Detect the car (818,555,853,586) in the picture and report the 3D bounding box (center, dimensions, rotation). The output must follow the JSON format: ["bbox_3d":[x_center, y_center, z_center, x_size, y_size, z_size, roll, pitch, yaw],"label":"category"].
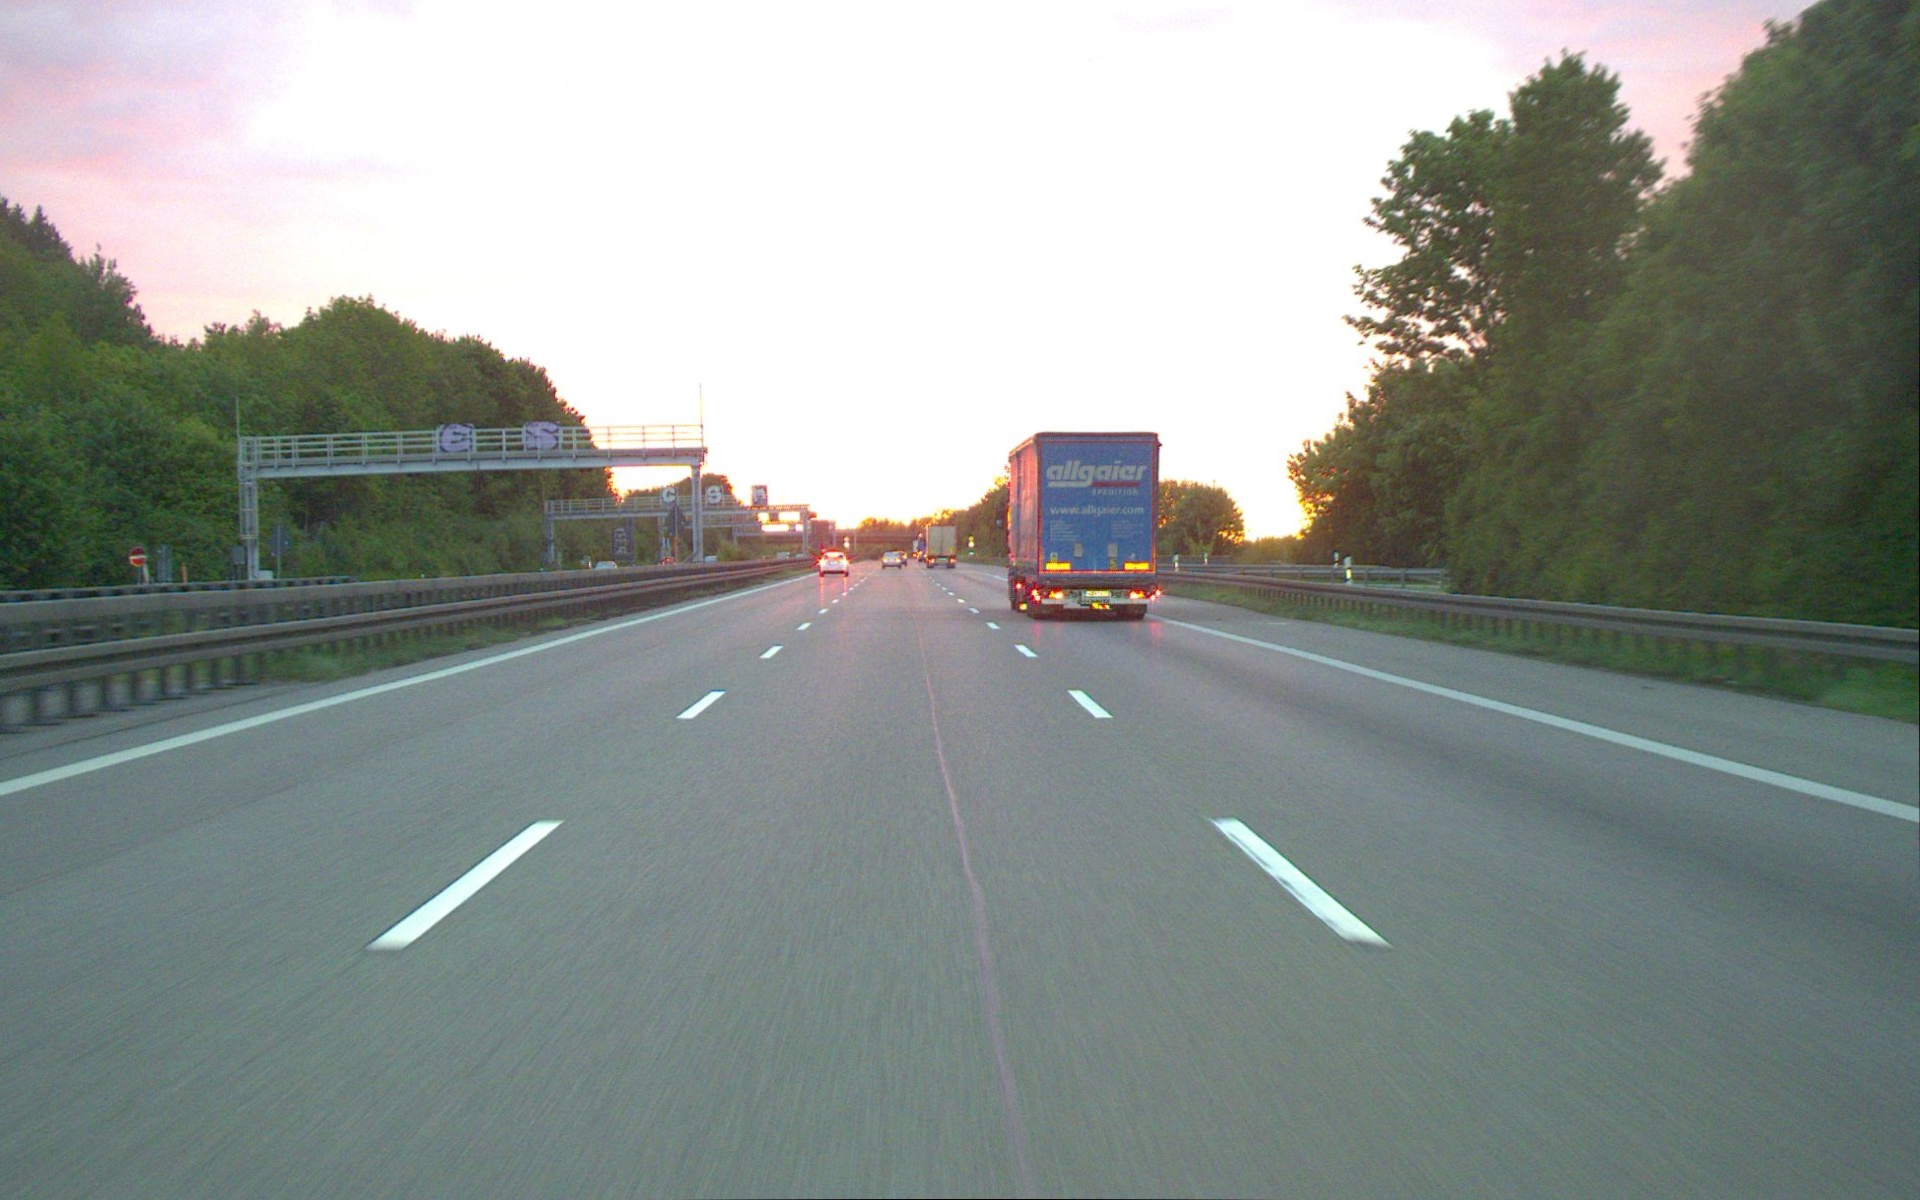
[{"bbox_3d":[-7.671,-1.825,212.446,2.013,1.743,3.903,-4,1,-1],"label":"car"}]

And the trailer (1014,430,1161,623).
[{"bbox_3d":[2.794,-1.596,79.446,2.771,4.072,13.740,0,0,-1],"label":"trailer"}]
